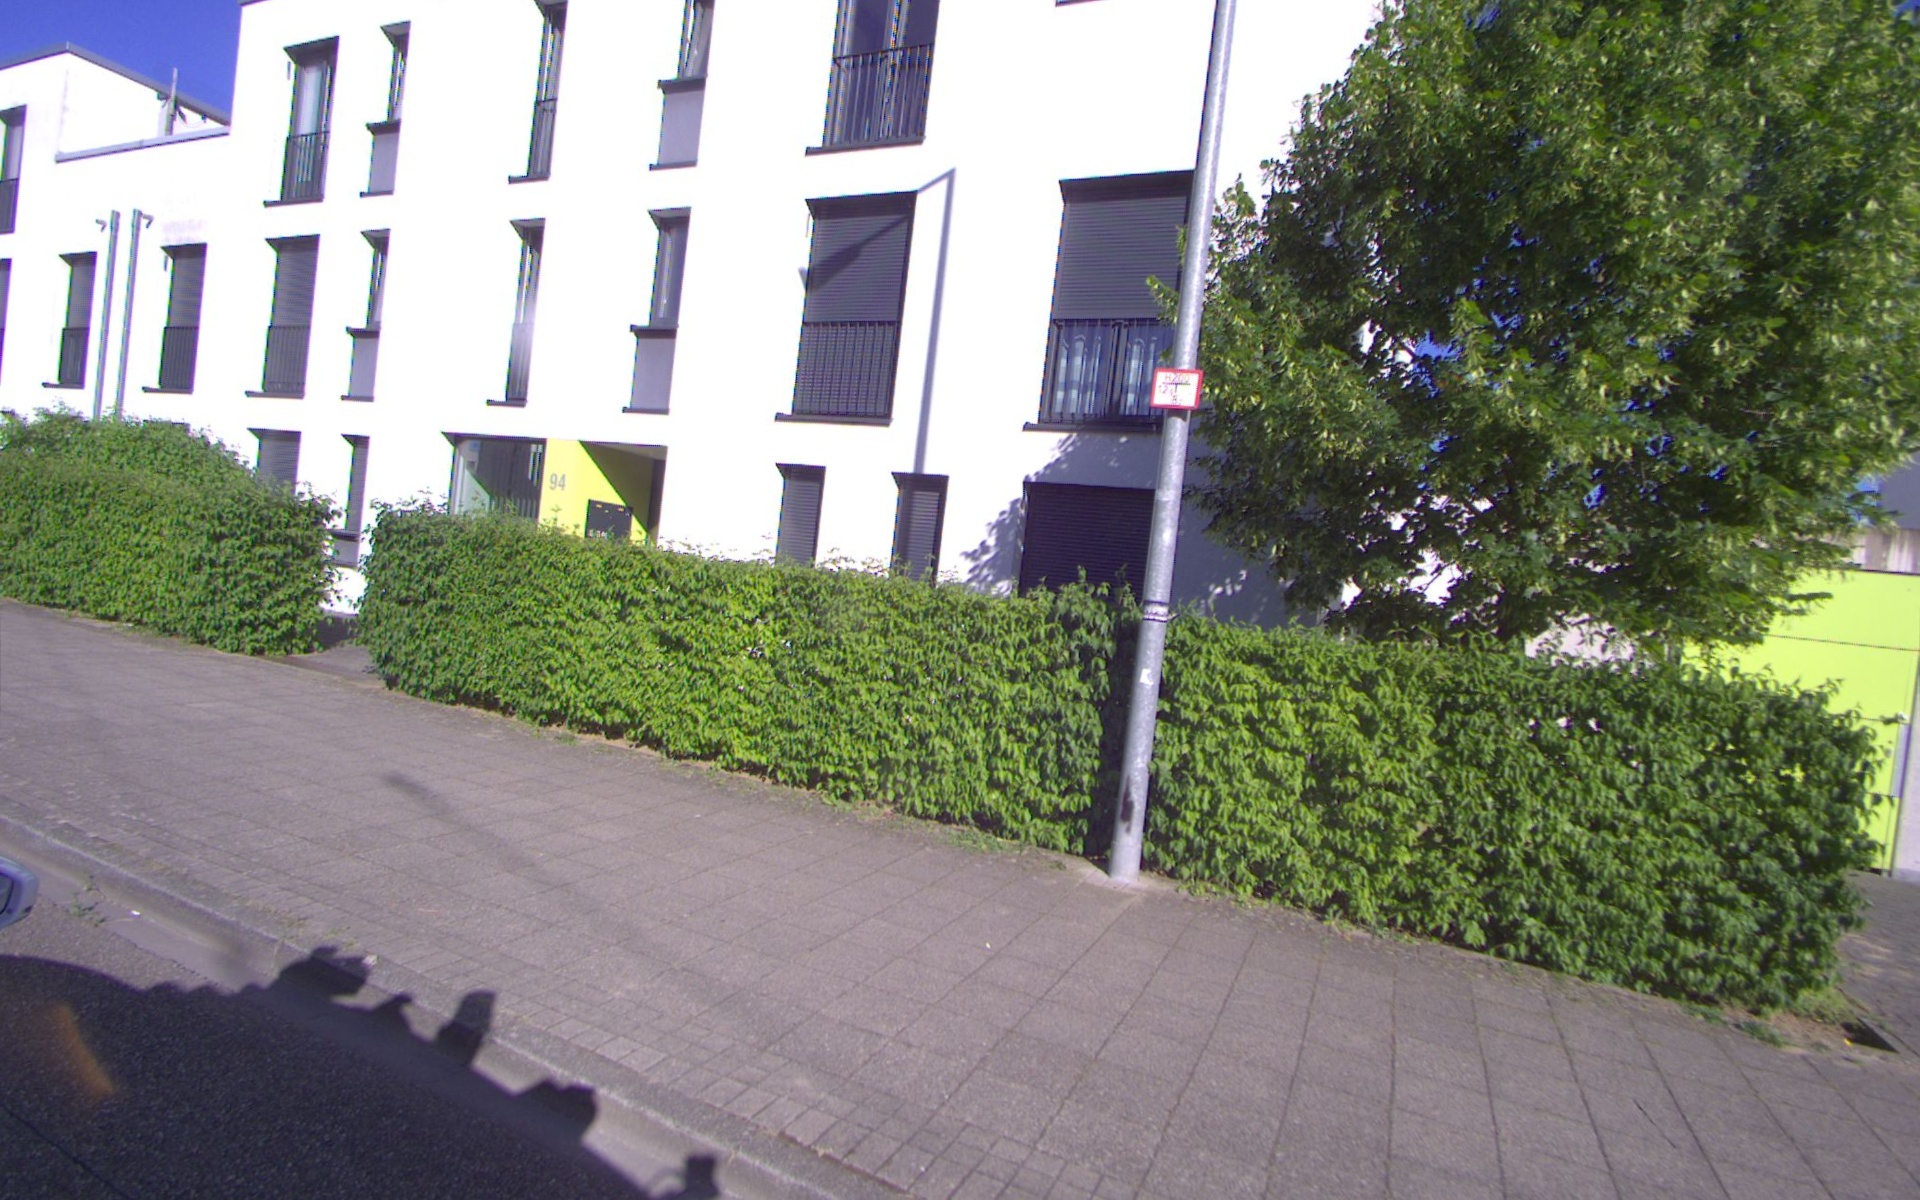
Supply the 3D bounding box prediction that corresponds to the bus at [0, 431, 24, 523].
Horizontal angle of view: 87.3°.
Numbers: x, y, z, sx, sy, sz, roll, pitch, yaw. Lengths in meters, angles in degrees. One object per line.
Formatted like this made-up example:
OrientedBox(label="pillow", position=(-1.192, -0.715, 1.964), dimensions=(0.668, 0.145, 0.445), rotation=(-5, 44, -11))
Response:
OrientedBox(label="bus", position=(-42.084, -5.630, 35.419), dimensions=(2.794, 3.713, 14.698), rotation=(8, -2, 7))
